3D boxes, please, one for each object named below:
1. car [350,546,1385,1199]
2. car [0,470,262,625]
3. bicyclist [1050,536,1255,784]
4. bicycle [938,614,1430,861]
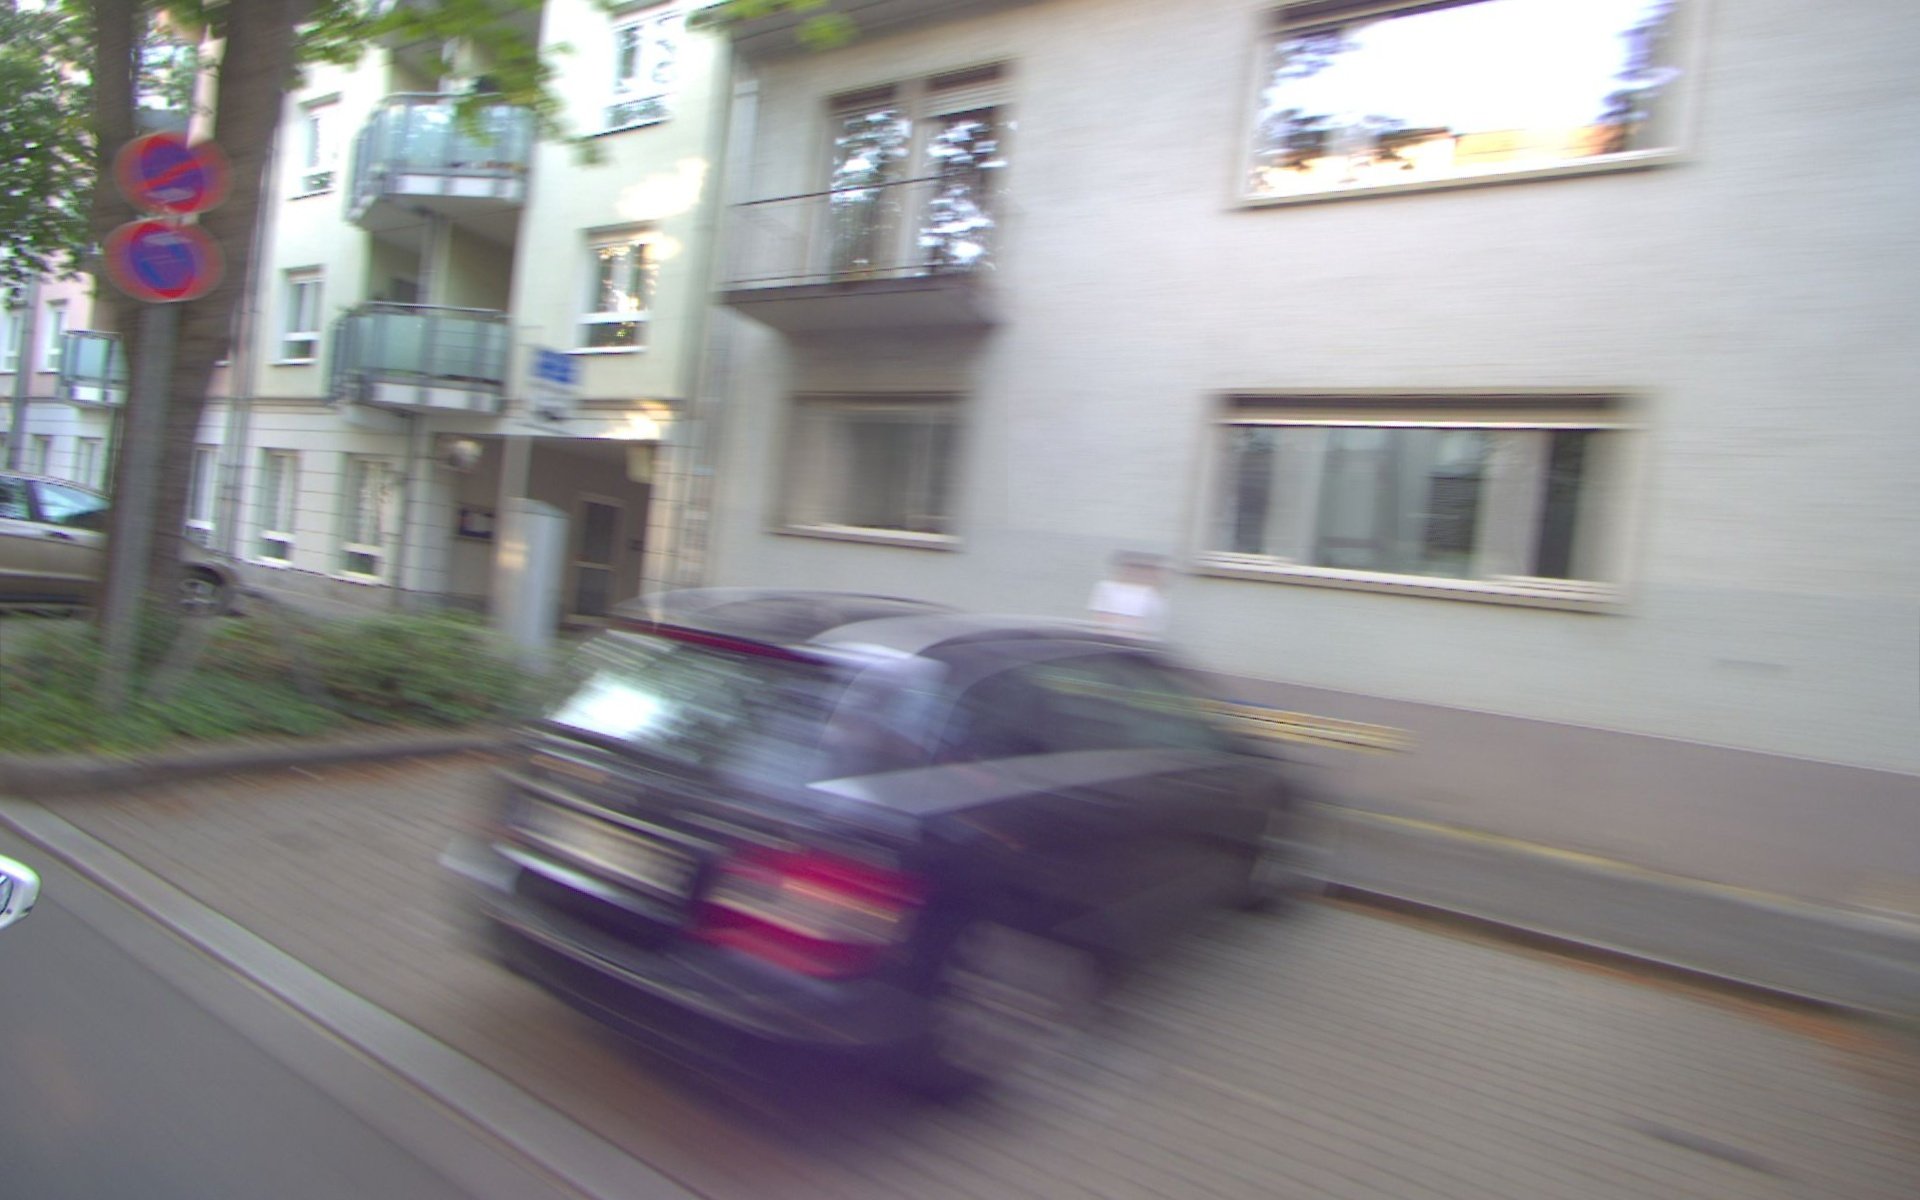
[{"bbox_3d":[0.205,0.725,4.398,1.980,1.446,4.455,7,2,36],"label":"car"},{"bbox_3d":[-10.625,-0.642,11.426,1.884,1.606,3.970,7,2,31],"label":"car"},{"bbox_3d":[1.467,0.430,7.588,1.116,1.624,0.972,7,1,28],"label":"bicyclist"},{"bbox_3d":[1.521,0.894,7.336,3.341,1.178,0.622,7,1,26],"label":"bicycle"}]
